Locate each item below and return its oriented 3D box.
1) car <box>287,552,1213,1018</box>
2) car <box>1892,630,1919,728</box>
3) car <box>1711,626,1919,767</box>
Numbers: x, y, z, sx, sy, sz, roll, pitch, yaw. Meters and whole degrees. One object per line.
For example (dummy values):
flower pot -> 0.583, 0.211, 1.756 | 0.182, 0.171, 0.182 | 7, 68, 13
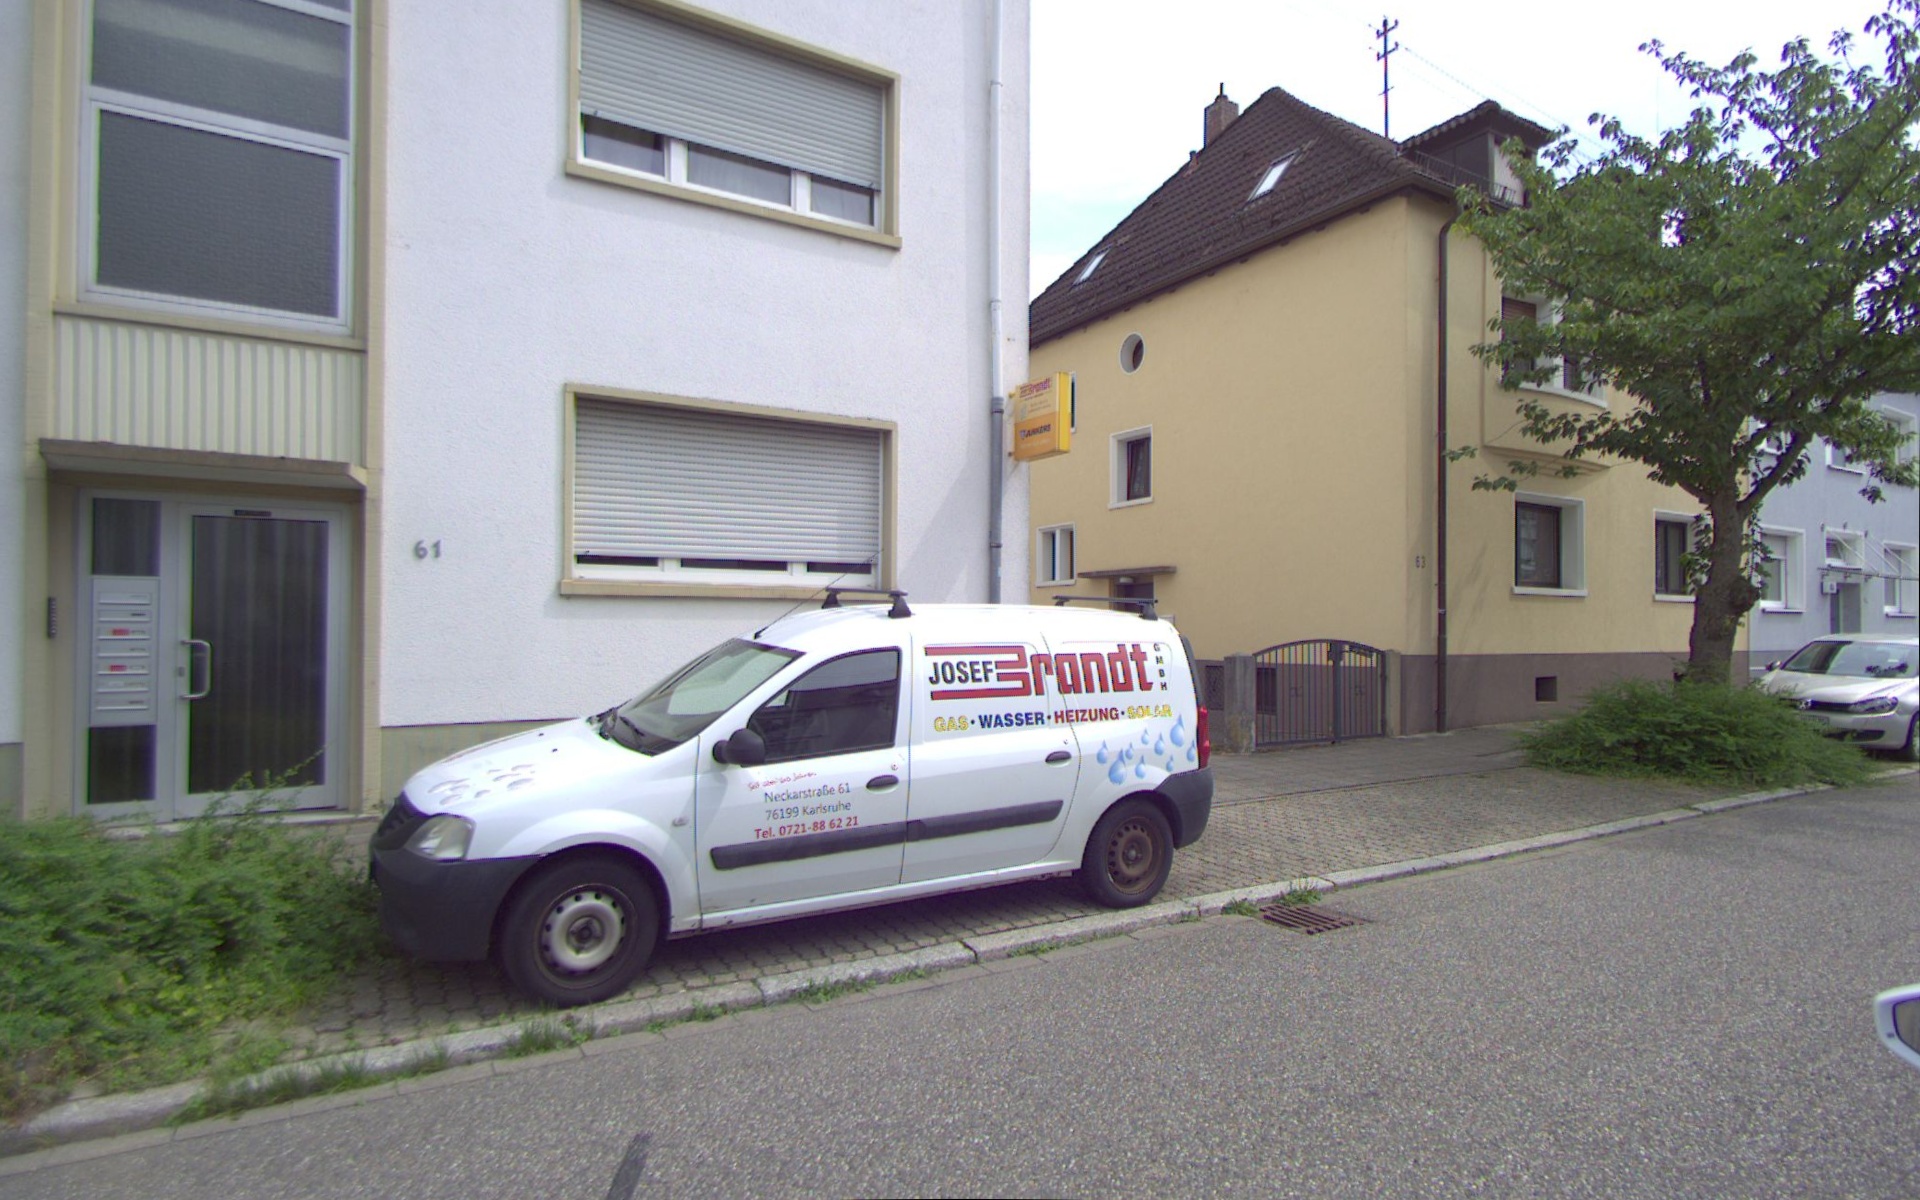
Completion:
car -> -0.920, 0.726, 5.411 | 4.331, 1.602, 1.910 | 1, -4, -31
car -> 16.933, 1.215, 15.983 | 4.460, 1.505, 1.868 | 1, -4, -31
car -> 11.873, 1.146, 13.087 | 4.224, 1.411, 1.763 | 1, 4, -30
